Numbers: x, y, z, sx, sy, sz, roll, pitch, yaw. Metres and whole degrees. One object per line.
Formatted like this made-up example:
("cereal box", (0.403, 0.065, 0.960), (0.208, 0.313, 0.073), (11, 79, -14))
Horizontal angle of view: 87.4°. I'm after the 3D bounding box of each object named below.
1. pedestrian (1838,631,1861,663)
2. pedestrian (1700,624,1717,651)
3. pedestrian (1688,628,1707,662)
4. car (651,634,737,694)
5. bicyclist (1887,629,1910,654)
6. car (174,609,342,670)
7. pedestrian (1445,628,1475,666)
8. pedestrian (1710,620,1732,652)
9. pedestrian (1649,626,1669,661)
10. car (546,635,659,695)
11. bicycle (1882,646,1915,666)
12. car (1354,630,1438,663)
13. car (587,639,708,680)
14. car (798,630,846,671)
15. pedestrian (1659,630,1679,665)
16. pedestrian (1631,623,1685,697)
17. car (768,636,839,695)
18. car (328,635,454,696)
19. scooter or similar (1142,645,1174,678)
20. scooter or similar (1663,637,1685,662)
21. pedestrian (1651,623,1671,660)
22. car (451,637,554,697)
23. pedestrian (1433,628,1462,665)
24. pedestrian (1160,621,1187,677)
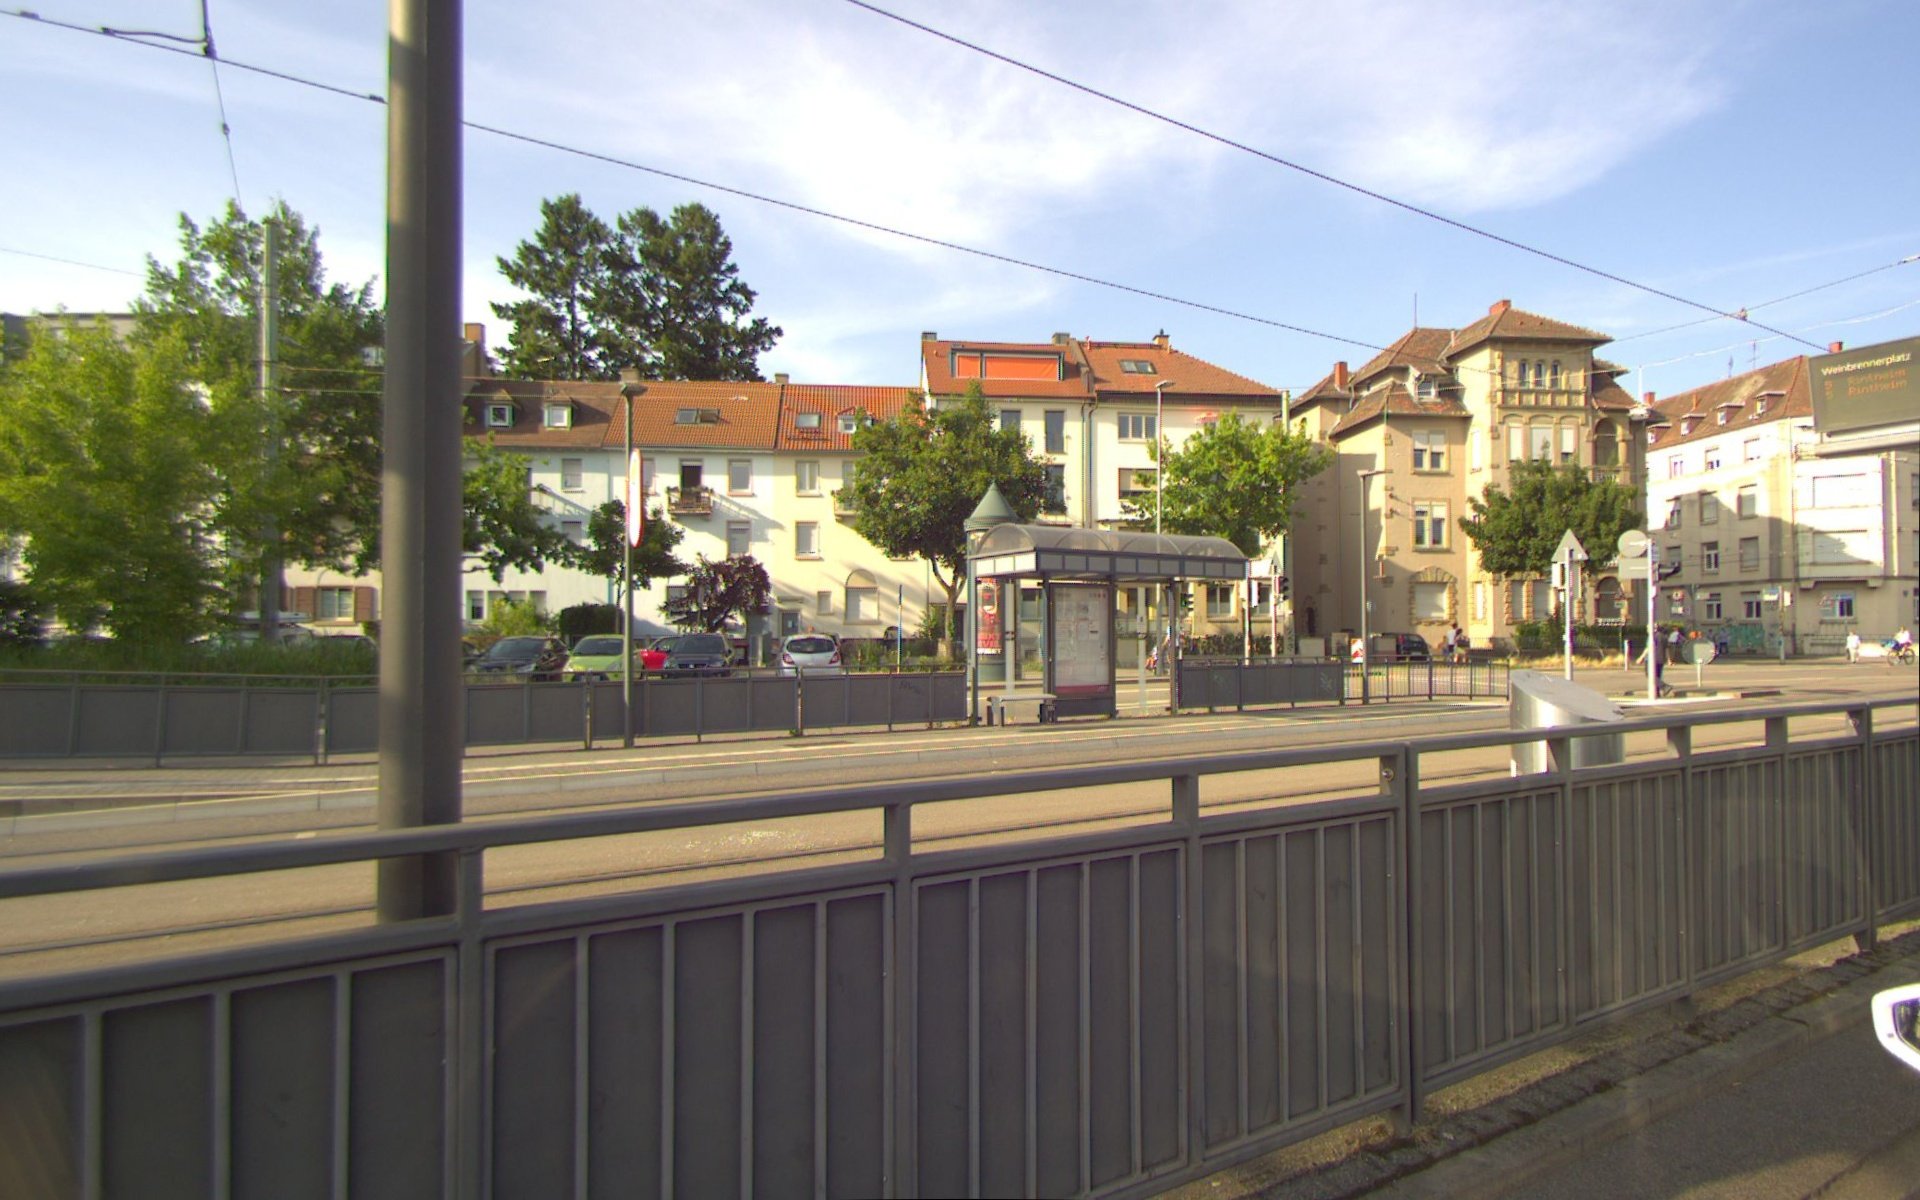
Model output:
("pedestrian", (43.468, 2.282, 49.073), (0.702, 1.561, 0.626), (1, -2, -30))
("pedestrian", (47.826, 2.394, 64.207), (0.576, 1.682, 0.620), (0, -2, -15))
("pedestrian", (32.824, 2.012, 44.733), (0.382, 1.520, 0.535), (0, -2, -15))
("car", (-7.135, 1.685, 27.307), (1.815, 1.505, 3.995), (0, -2, -9))
("bicyclist", (40.387, 1.796, 43.214), (0.671, 1.058, 0.510), (1, -2, -29))
("car", (-18.618, 1.049, 26.889), (1.813, 1.505, 3.999), (0, -2, -3))
("pedestrian", (21.243, 1.991, 42.696), (0.768, 1.572, 0.831), (0, -2, -8))
("pedestrian", (48.684, 2.307, 64.279), (0.773, 2.040, 0.775), (0, -2, -15))
("pedestrian", (30.454, 1.886, 43.781), (0.540, 1.520, 0.437), (0, -2, -15))
("car", (-9.621, 1.714, 27.361), (1.813, 1.505, 3.999), (0, -2, -3))
("bicycle", (40.356, 2.401, 43.191), (1.665, 0.845, 0.524), (1, -2, -29))
("car", (20.399, 2.156, 47.152), (1.732, 1.327, 4.111), (2, 0, -7))
("car", (-11.196, 2.124, 36.268), (3.927, 1.416, 1.836), (0, -2, -9))
("car", (-6.029, 2.194, 44.228), (1.962, 1.684, 3.997), (0, -2, -6))
("pedestrian", (31.023, 2.070, 43.971), (0.540, 1.520, 0.437), (0, -2, -15))
("pedestrian", (15.978, 1.363, 23.018), (0.778, 1.667, 0.757), (-1, -2, 16))
("car", (-4.317, 1.767, 27.846), (1.815, 1.505, 3.995), (0, -2, -9))
("car", (-14.372, 1.607, 25.614), (1.968, 1.416, 3.985), (0, -2, -18))
("scooter or similar", (6.199, 1.911, 31.415), (0.549, 1.001, 1.019), (-2, -2, 39))
("scooter or similar", (31.927, 2.207, 44.932), (0.675, 1.093, 0.541), (2, 0, -30))
("pedestrian", (31.249, 1.859, 44.798), (0.601, 1.647, 0.506), (1, -2, -29))
("car", (-11.852, 1.681, 26.274), (1.968, 1.416, 3.985), (0, -2, -18))
("pedestrian", (21.130, 2.004, 43.570), (0.768, 1.572, 0.831), (0, -2, -8))
("pedestrian", (6.819, 1.559, 32.079), (0.540, 1.769, 0.760), (-1, -2, 39))
